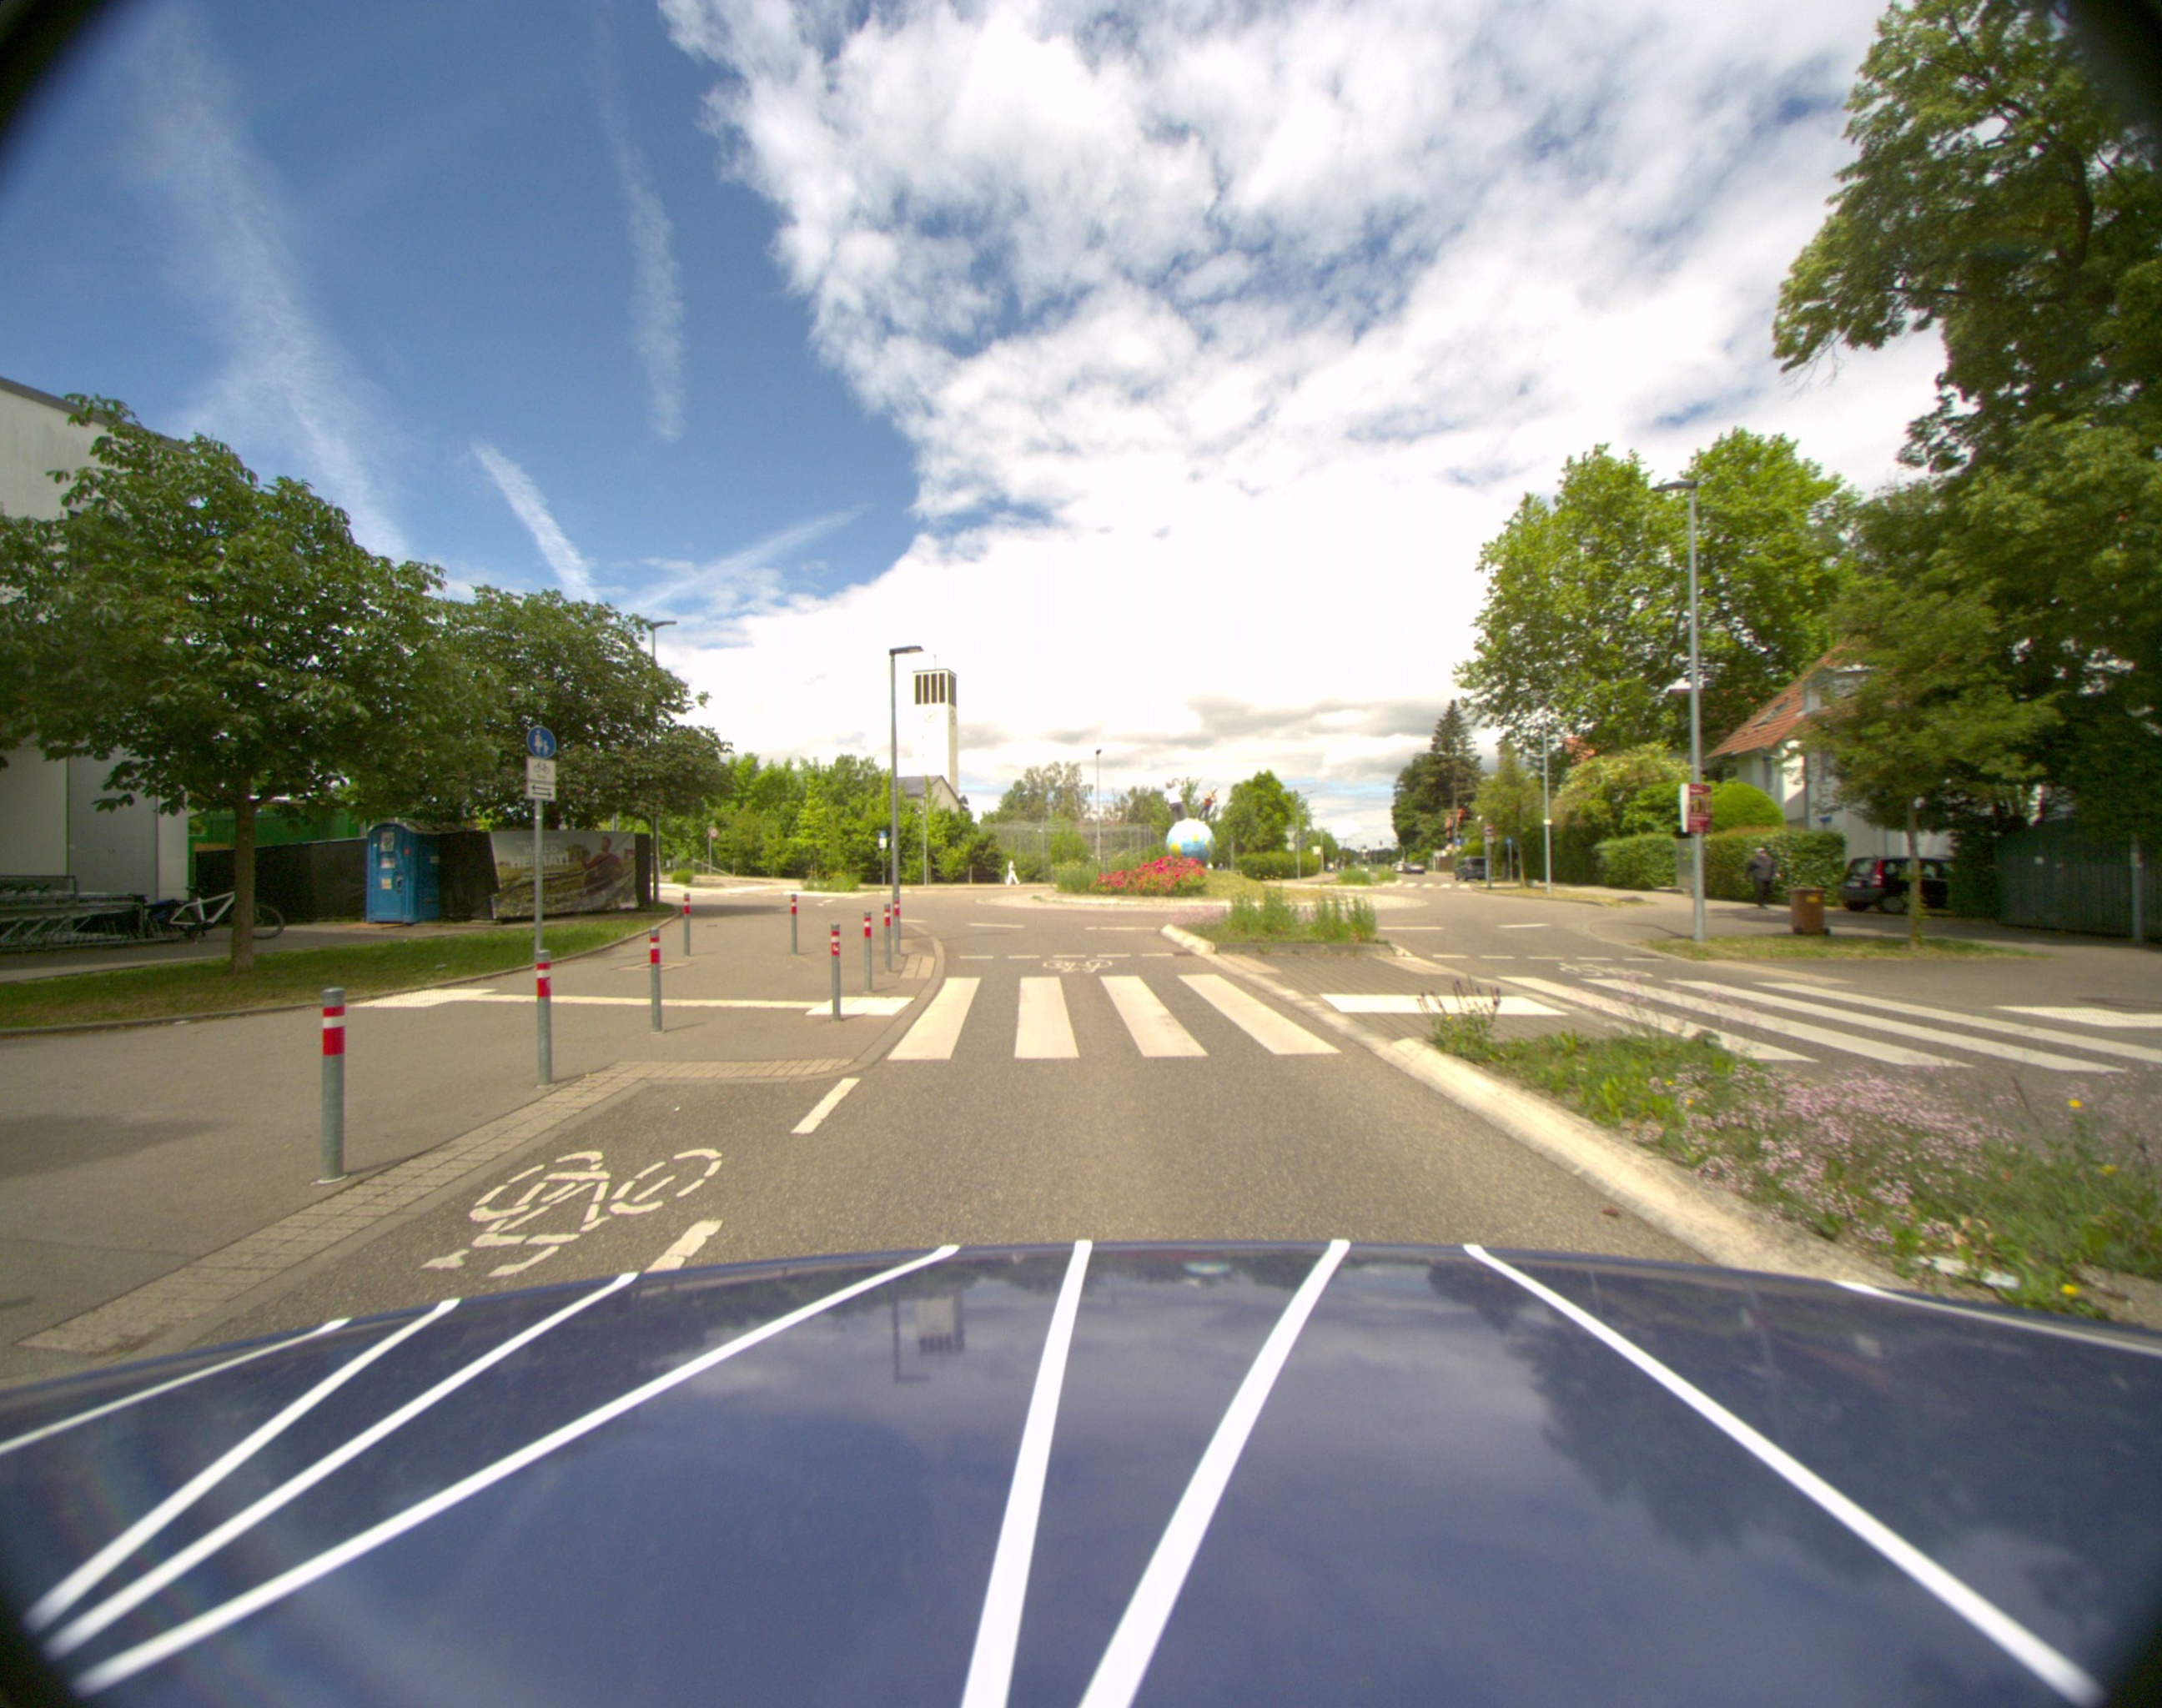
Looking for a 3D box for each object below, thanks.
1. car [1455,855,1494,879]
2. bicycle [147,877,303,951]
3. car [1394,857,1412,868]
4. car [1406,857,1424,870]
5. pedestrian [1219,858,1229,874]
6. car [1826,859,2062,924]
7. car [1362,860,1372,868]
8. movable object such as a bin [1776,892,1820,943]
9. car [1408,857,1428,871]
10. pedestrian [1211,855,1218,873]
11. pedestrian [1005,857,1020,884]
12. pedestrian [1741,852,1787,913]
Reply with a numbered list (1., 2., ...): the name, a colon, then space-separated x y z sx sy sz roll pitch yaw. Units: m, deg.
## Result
1. car: 27.717 0.893 53.642 1.678 1.652 4.005 0 0 16
2. bicycle: -15.662 1.071 13.956 1.773 1.227 0.714 -2 0 -14
3. car: 50.859 1.337 120.044 1.996 1.696 4.005 0 0 15
4. car: 42.211 1.158 96.088 1.784 1.568 4.006 -2 0 20
5. pedestrian: 13.548 1.124 71.907 0.764 1.548 0.602 0 1 -1
6. car: 21.877 0.897 19.456 3.570 1.389 1.668 2 1 20
7. car: 63.949 2.267 169.696 1.995 1.696 4.006 0 0 19
8. movable object such as a bin: 13.567 1.188 14.385 0.441 0.929 0.412 0 0 -9
9. car: 40.258 1.185 90.736 1.859 1.568 4.006 -2 0 20
10. pedestrian: 12.638 0.980 71.903 0.607 1.687 0.567 0 0 -1
11. pedestrian: -4.031 0.960 44.762 0.457 1.524 0.965 -1 -1 27
12. pedestrian: 19.441 0.805 21.635 0.744 1.681 0.695 -1 0 21
